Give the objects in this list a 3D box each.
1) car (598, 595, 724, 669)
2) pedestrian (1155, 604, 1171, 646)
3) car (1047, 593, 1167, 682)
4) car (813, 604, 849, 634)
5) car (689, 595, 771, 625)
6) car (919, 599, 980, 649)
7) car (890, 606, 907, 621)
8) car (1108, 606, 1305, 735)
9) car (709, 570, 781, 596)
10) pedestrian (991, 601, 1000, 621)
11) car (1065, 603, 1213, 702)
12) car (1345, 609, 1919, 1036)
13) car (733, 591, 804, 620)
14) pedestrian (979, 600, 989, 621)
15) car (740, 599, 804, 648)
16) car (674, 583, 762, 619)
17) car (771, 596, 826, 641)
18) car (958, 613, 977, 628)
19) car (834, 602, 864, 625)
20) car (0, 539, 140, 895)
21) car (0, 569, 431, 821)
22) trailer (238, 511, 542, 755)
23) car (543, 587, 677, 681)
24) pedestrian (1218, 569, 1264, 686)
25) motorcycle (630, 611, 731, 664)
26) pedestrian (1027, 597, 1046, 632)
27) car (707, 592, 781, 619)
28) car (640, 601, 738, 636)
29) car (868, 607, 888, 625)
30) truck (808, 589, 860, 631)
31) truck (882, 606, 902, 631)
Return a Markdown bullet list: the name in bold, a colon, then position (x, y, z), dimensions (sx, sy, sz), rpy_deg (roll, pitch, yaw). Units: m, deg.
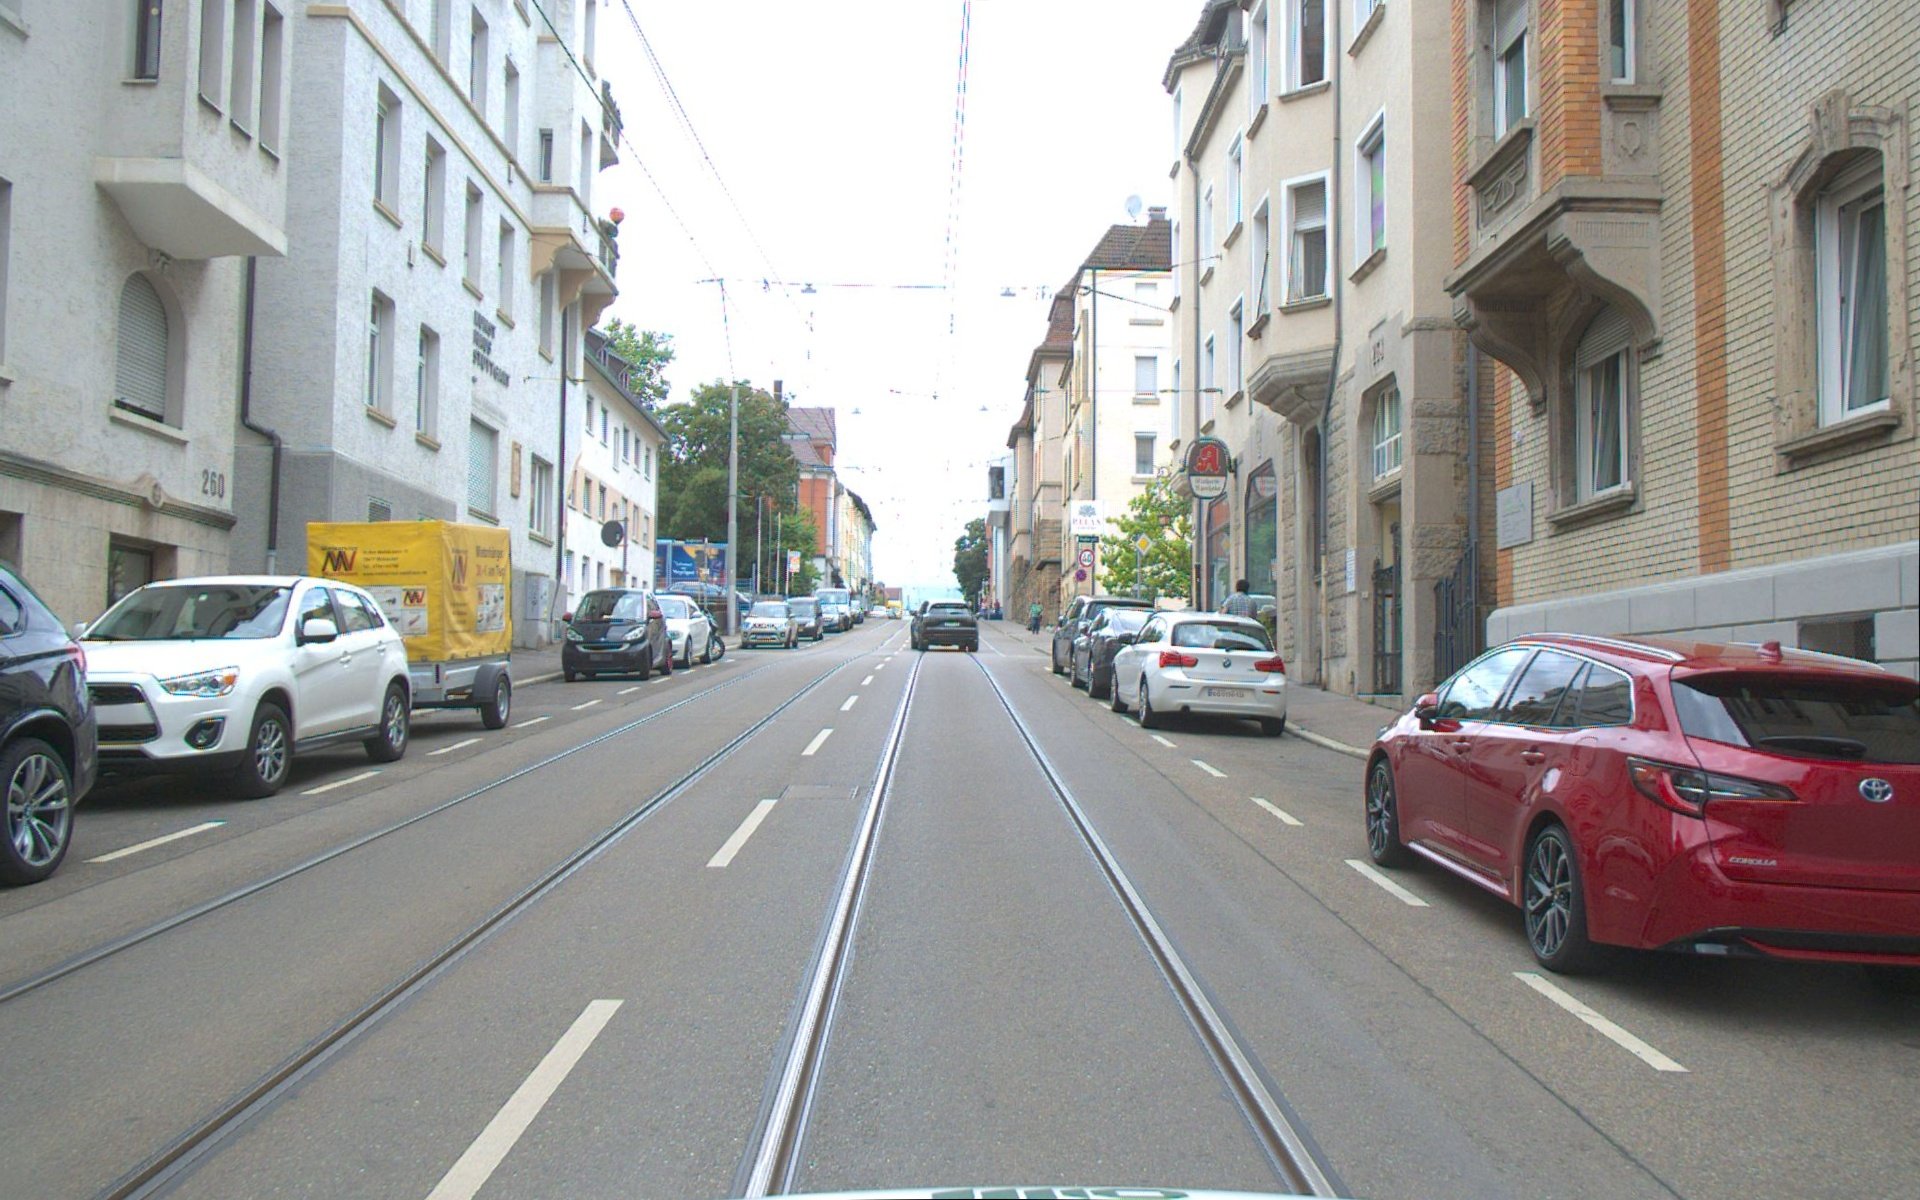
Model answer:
- **car**: position (-6.031, 0.616, 33.801), dimensions (1.743, 1.381, 4.291), rpy_deg (1, 0, 0)
- **pedestrian**: position (7.981, 0.979, 65.038), dimensions (0.547, 1.610, 0.685), rpy_deg (1, 0, 0)
- **car**: position (2.843, 0.689, 32.870), dimensions (1.700, 1.564, 4.571), rpy_deg (3, 0, -3)
- **car**: position (-6.687, 0.975, 85.748), dimensions (1.663, 1.458, 4.479), rpy_deg (-1, 0, -2)
- **car**: position (-11.892, 0.520, 85.737), dimensions (3.978, 1.470, 1.687), rpy_deg (1, 0, -2)
- **car**: position (-0.349, 0.775, 55.195), dimensions (1.953, 1.590, 4.289), rpy_deg (1, 0, 0)
- **car**: position (-7.217, 1.587, 193.598), dimensions (1.817, 1.635, 4.296), rpy_deg (1, 0, -1)
- **car**: position (3.068, 0.831, 21.404), dimensions (1.715, 1.415, 4.306), rpy_deg (3, 0, -2)
- **car**: position (-12.100, -0.947, 93.208), dimensions (3.797, 1.381, 1.687), rpy_deg (1, 0, -2)
- **pedestrian**: position (2.959, 0.899, 137.858), dimensions (0.775, 1.696, 0.799), rpy_deg (1, 0, 1)
- **car**: position (2.876, 0.803, 27.515), dimensions (1.744, 1.415, 4.690), rpy_deg (3, 0, -2)
- **car**: position (3.417, 0.846, 8.347), dimensions (1.744, 1.501, 4.588), rpy_deg (3, 0, -1)
- **car**: position (-11.194, 0.325, 96.639), dimensions (3.895, 1.578, 1.681), rpy_deg (1, 0, -16)
- **pedestrian**: position (2.026, 0.889, 137.916), dimensions (0.775, 1.696, 0.799), rpy_deg (1, 0, 1)
- **car**: position (-6.399, 0.788, 56.580), dimensions (1.662, 1.583, 3.850), rpy_deg (1, 0, 1)
- **car**: position (-11.830, 0.063, 81.025), dimensions (3.978, 1.579, 1.687), rpy_deg (3, 0, -2)
- **car**: position (-6.571, 0.729, 67.590), dimensions (1.708, 1.766, 4.519), rpy_deg (-1, 0, 1)
- **car**: position (0.826, 2.198, 179.252), dimensions (1.953, 1.590, 4.289), rpy_deg (1, 0, 0)
- **car**: position (-7.202, 0.857, 107.803), dimensions (1.677, 1.472, 4.289), rpy_deg (1, 0, 0)
- **car**: position (-5.485, 0.587, 6.729), dimensions (1.835, 1.693, 4.891), rpy_deg (-2, 0, 0)
- **car**: position (-5.698, 0.613, 13.054), dimensions (1.662, 1.621, 4.268), rpy_deg (-2, 0, 0)
- **trailer**: position (-5.750, 0.290, 17.227), dimensions (1.713, 2.193, 4.071), rpy_deg (-1, 0, 0)
- **car**: position (-6.007, 0.566, 28.677), dimensions (1.662, 1.494, 3.023), rpy_deg (-2, 0, 0)
- **pedestrian**: position (4.450, 0.433, 26.215), dimensions (0.587, 1.834, 0.631), rpy_deg (1, -1, -1)
- **motorcycle**: position (-6.248, 0.836, 37.010), dimensions (2.063, 1.154, 0.767), rpy_deg (-1, 0, 13)
- **pedestrian**: position (3.732, 0.699, 80.613), dimensions (0.853, 1.716, 0.663), rpy_deg (-1, 0, -3)
- **car**: position (-11.813, 0.317, 90.536), dimensions (3.797, 1.381, 1.687), rpy_deg (1, 0, -2)
- **car**: position (-12.708, 0.842, 77.839), dimensions (4.251, 1.369, 1.860), rpy_deg (-4, 0, -2)
- **car**: position (-7.973, 1.528, 160.896), dimensions (1.817, 1.635, 4.296), rpy_deg (1, 0, -1)
- **truck**: position (-6.997, 0.542, 92.695), dimensions (2.233, 2.226, 8.024), rpy_deg (1, 0, 0)
- **truck**: position (-8.763, 2.342, 213.497), dimensions (2.255, 3.090, 9.031), rpy_deg (1, -1, -1)
